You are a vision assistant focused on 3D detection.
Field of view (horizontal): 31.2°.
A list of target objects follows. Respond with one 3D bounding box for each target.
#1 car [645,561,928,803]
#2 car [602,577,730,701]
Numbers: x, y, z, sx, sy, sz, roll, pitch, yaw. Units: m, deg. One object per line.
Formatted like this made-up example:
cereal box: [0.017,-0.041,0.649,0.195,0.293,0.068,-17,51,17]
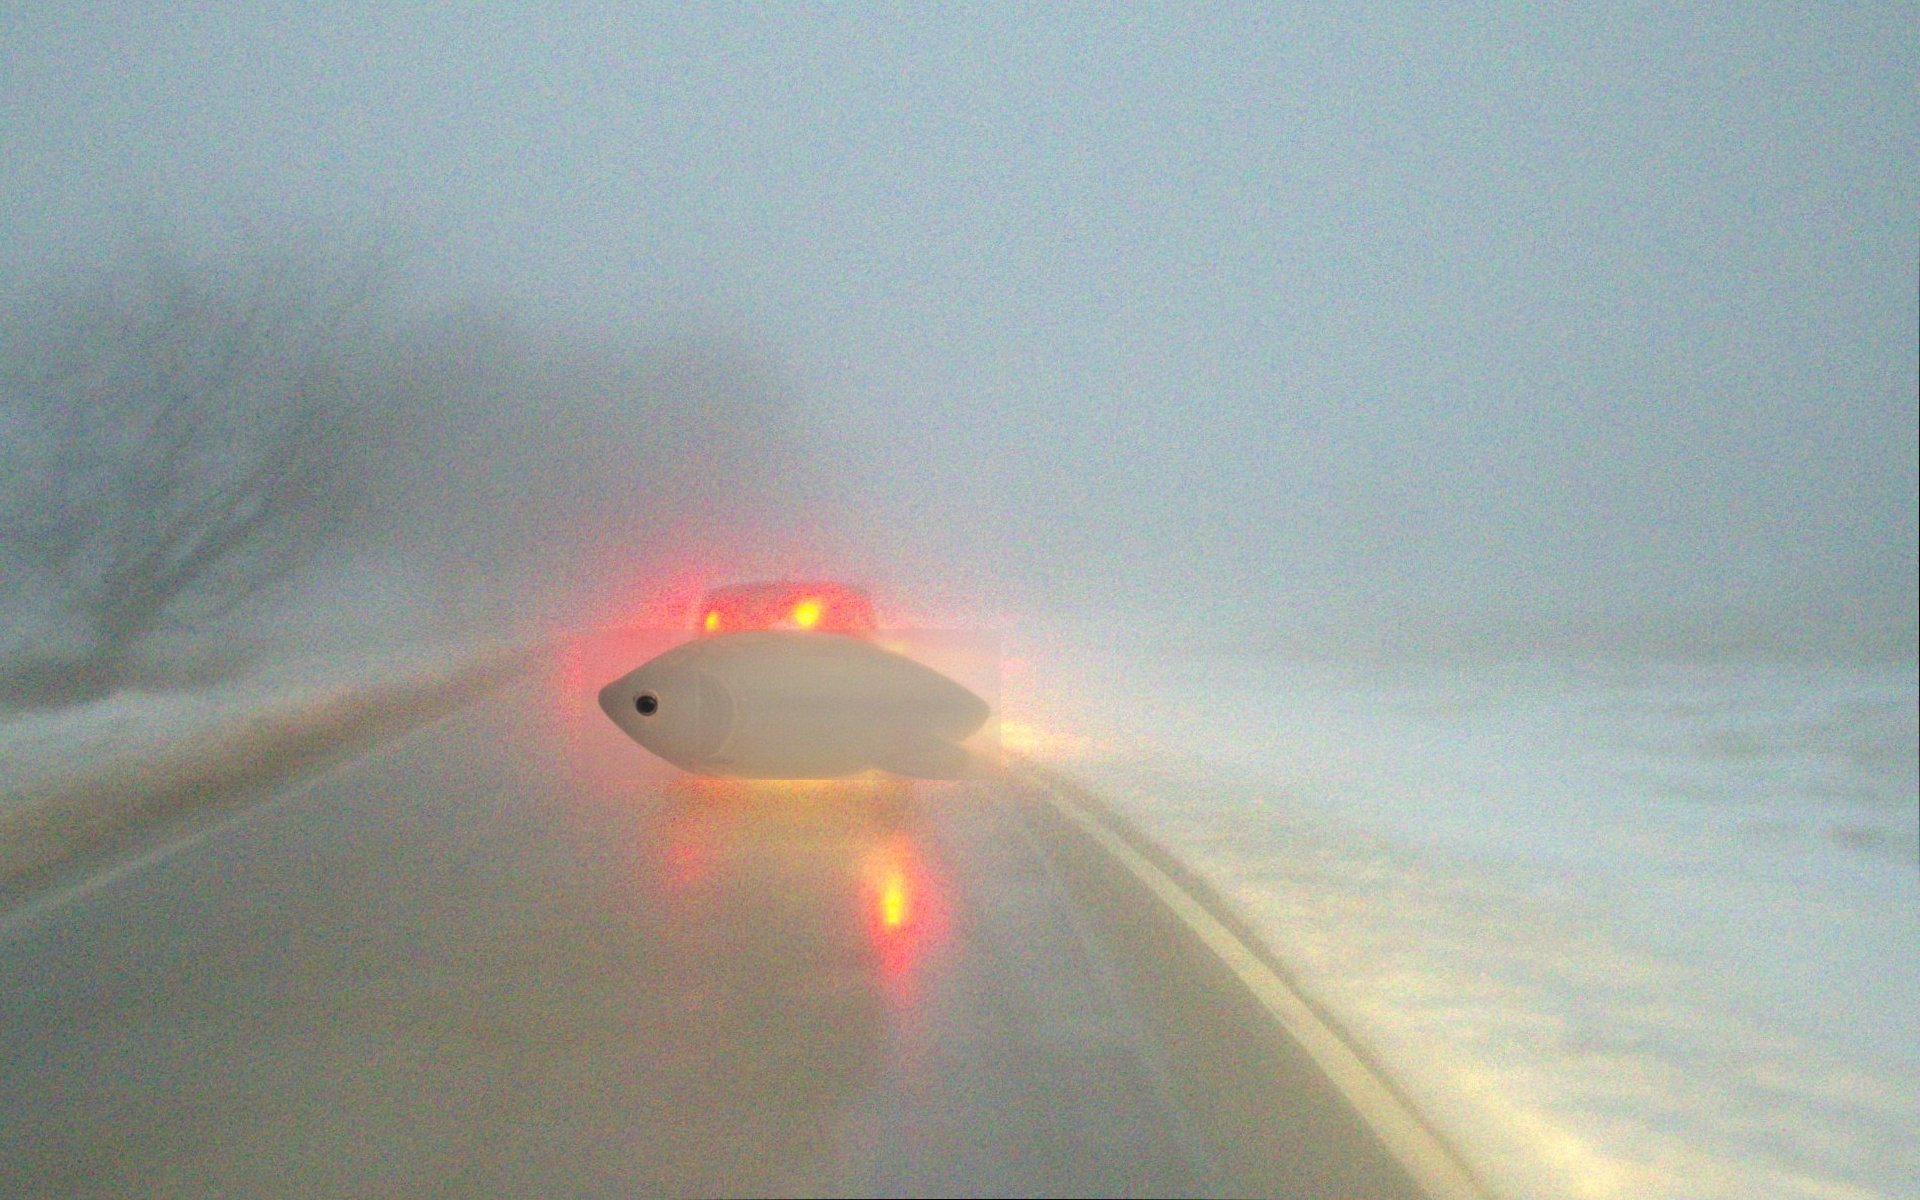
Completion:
car: [-1.235,0.482,22.927,1.706,1.458,4.001,1,1,-5]
car: [-3.744,0.473,44.109,1.478,1.503,3.053,-1,0,-3]
